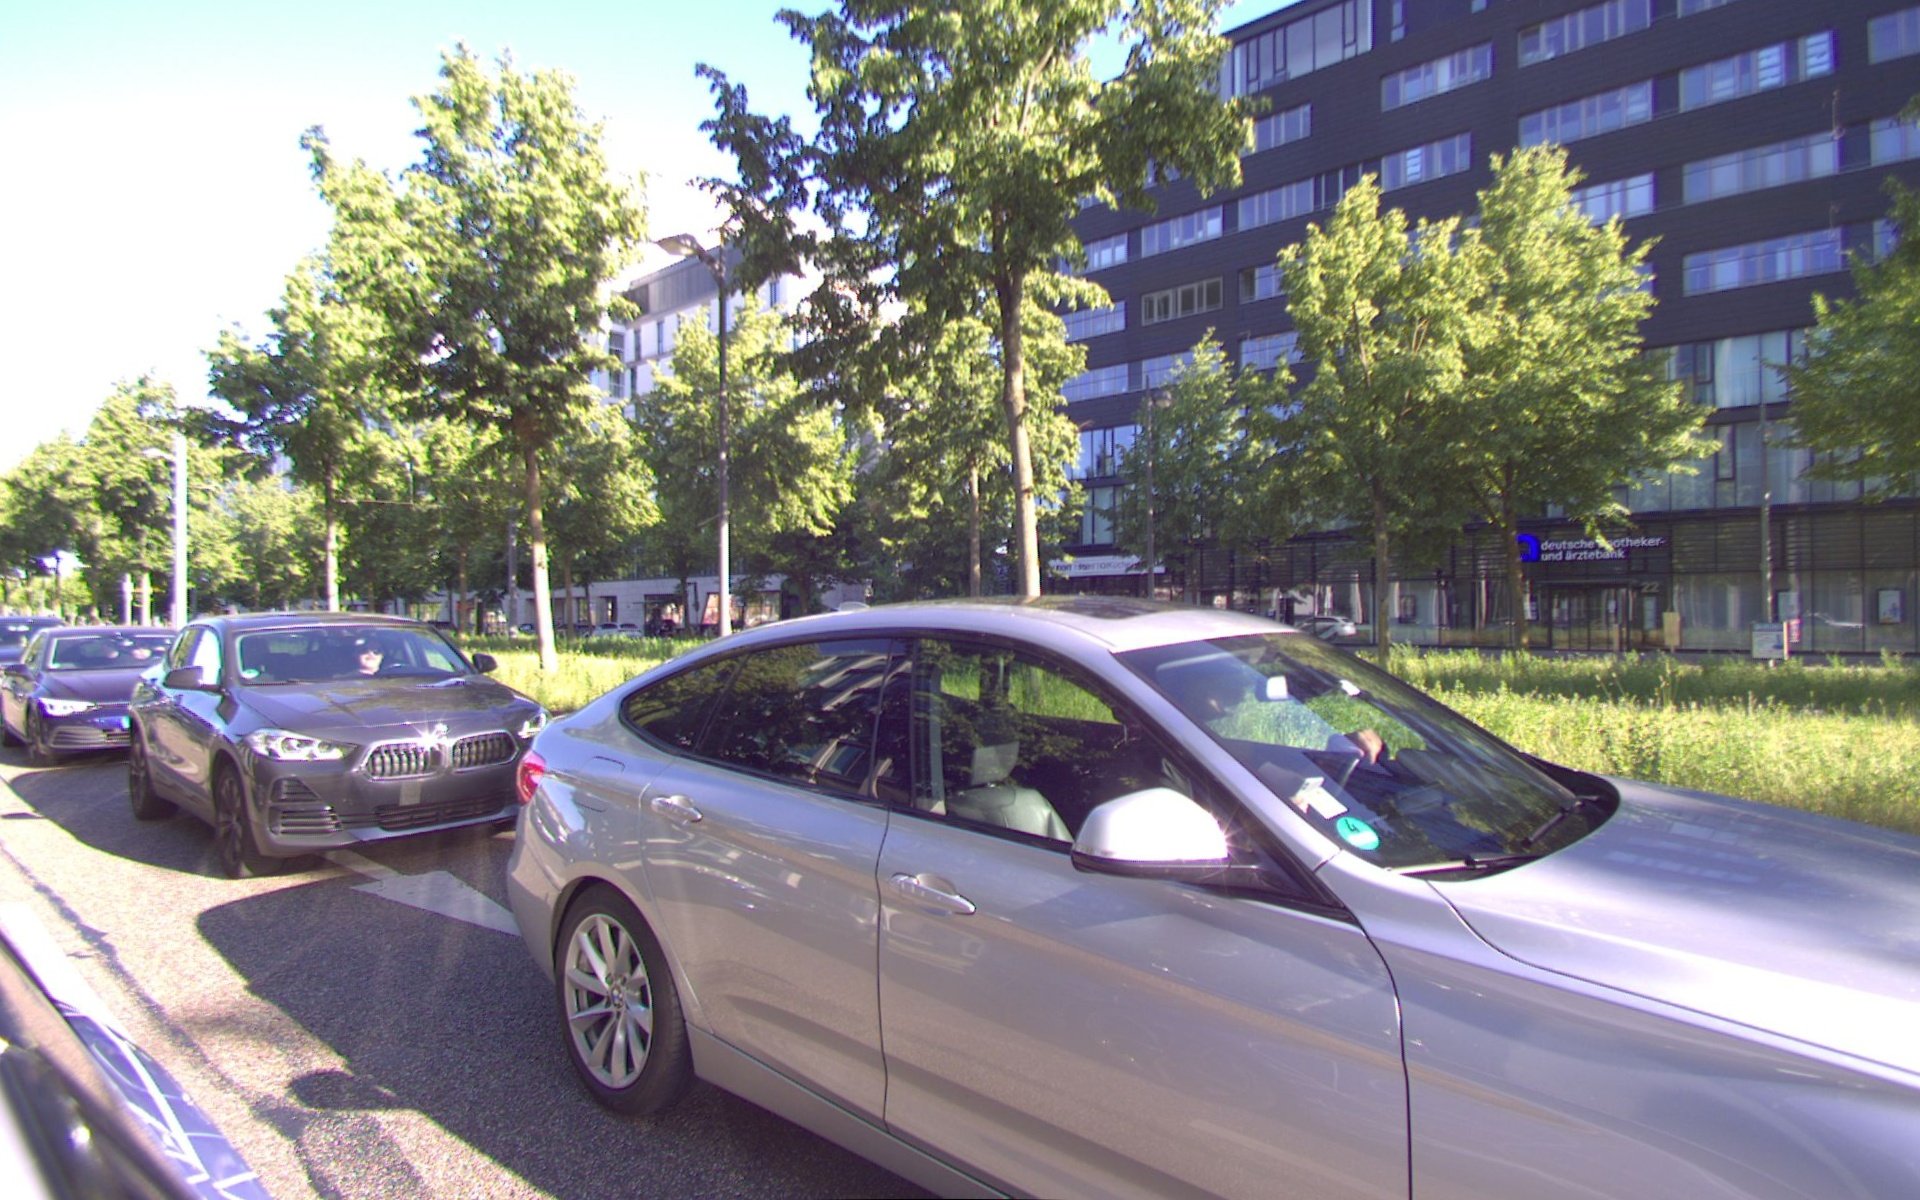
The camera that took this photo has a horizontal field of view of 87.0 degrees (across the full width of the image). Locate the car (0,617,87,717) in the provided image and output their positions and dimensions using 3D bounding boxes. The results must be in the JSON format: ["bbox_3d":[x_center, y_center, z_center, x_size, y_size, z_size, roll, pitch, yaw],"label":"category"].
[{"bbox_3d":[-16.852,1.126,17.798,4.164,1.602,1.788,-1,-1,42],"label":"car"}]

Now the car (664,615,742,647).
[{"bbox_3d":[-14.324,1.717,56.337,4.790,1.697,1.834,-1,-1,41],"label":"car"}]

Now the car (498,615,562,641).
[{"bbox_3d":[-29.714,1.920,69.813,4.785,1.711,1.988,-1,-1,38],"label":"car"}]

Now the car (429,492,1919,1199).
[{"bbox_3d":[0.501,0.665,2.725,4.739,1.500,1.790,-1,-1,40],"label":"car"}]

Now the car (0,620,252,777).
[{"bbox_3d":[-9.769,0.978,11.618,4.253,1.465,1.789,-1,-1,42],"label":"car"}]

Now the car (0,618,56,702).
[{"bbox_3d":[-21.584,1.276,22.179,4.788,1.711,1.986,-1,-1,40],"label":"car"}]

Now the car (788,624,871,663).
[{"bbox_3d":[-6.384,2.085,49.269,3.998,1.762,1.834,-1,-1,41],"label":"car"}]

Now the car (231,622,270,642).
[{"bbox_3d":[-64.613,2.886,92.162,4.790,1.742,1.834,-1,-1,41],"label":"car"}]

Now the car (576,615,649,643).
[{"bbox_3d":[-21.742,1.809,63.238,4.785,1.711,1.988,-1,-1,38],"label":"car"}]

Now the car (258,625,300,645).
[{"bbox_3d":[-50.371,2.563,74.814,3.998,1.403,1.644,-1,-1,41],"label":"car"}]

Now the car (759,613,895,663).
[{"bbox_3d":[-4.459,1.223,33.477,4.733,1.549,1.834,-1,-1,41],"label":"car"}]

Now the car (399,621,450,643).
[{"bbox_3d":[-42.965,2.566,81.207,4.788,1.711,1.986,-1,-1,40],"label":"car"}]

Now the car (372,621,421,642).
[{"bbox_3d":[-47.350,2.638,85.009,4.788,1.711,1.986,-1,-1,40],"label":"car"}]

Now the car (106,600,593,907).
[{"bbox_3d":[-4.432,0.811,7.088,4.027,1.534,1.789,-1,-1,41],"label":"car"}]

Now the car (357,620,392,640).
[{"bbox_3d":[-51.007,2.628,88.161,3.741,1.682,1.581,-1,-1,41],"label":"car"}]
